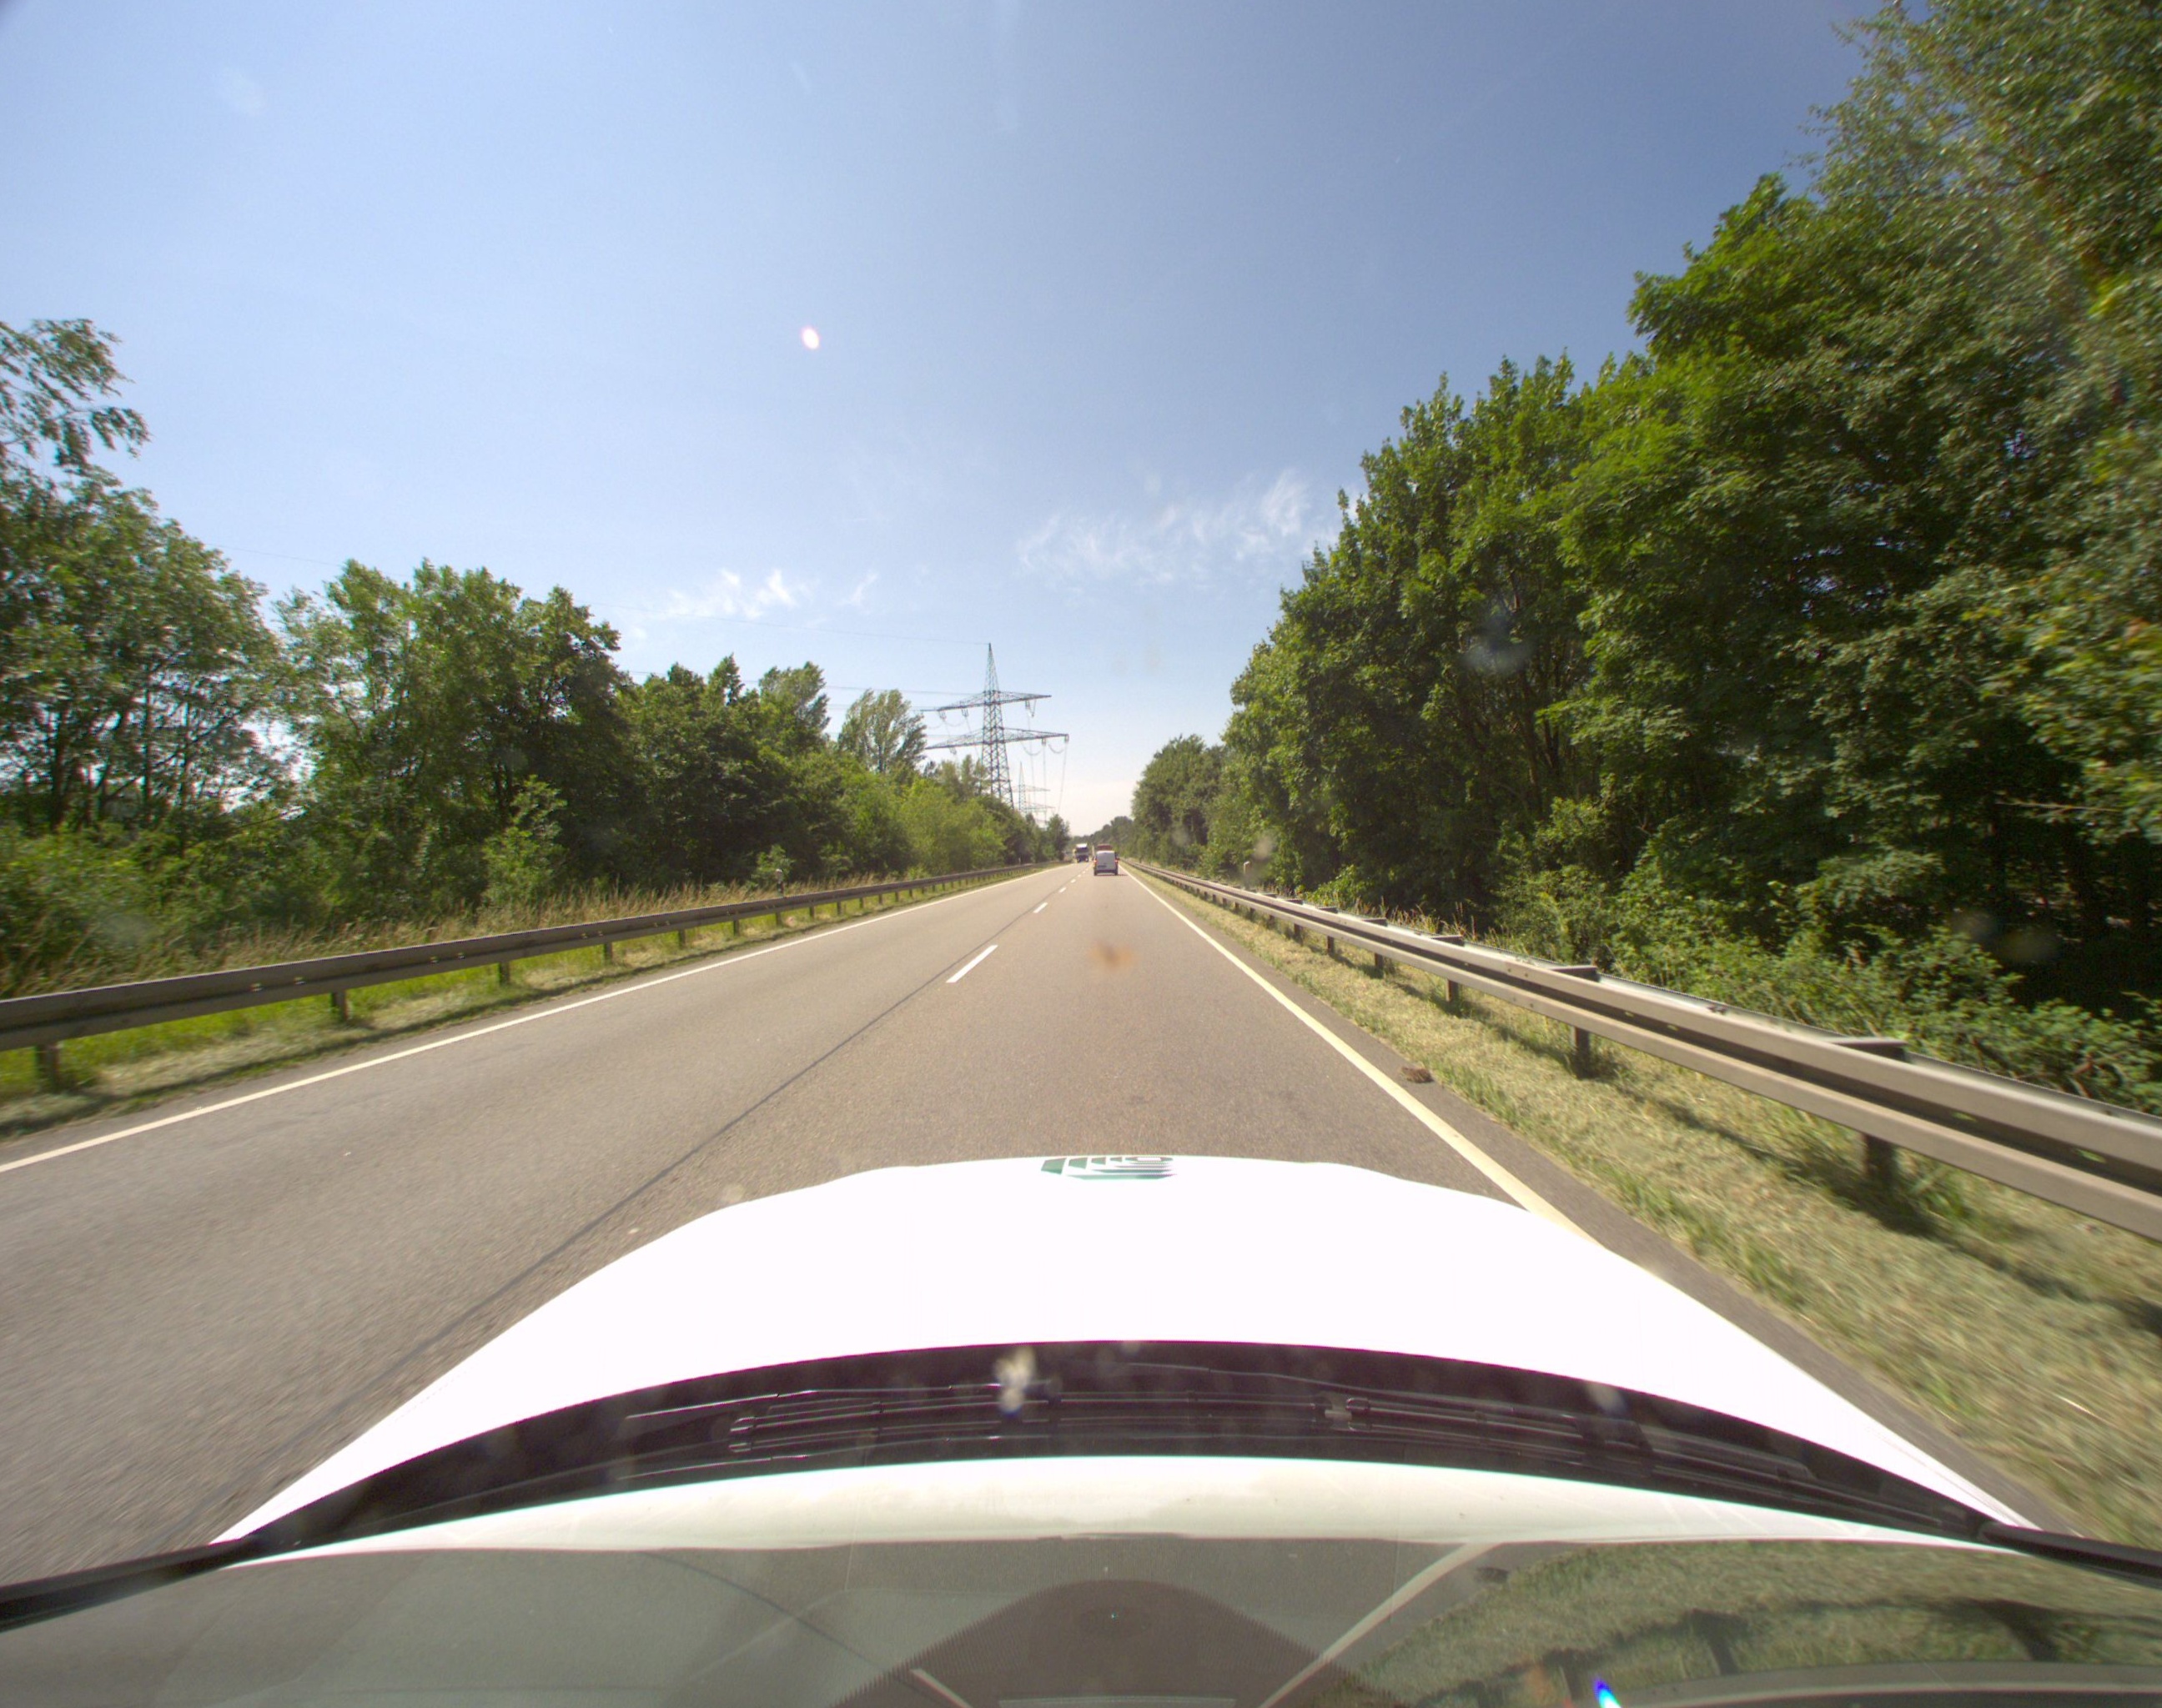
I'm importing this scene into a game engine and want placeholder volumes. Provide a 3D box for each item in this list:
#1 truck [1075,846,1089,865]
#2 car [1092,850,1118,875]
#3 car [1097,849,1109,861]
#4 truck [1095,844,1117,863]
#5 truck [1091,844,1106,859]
[{"bbox_3d":[0.232,0.254,177.867,2.753,3.999,5.909,-1,0,1],"label":"truck"},{"bbox_3d":[1.762,0.569,59.973,1.868,1.741,4.001,-1,1,1],"label":"car"},{"bbox_3d":[3.575,0.163,134.067,1.758,2.013,3.999,-1,0,-1],"label":"car"},{"bbox_3d":[4.399,-0.170,145.661,3.287,3.171,14.400,-1,1,-1],"label":"truck"},{"bbox_3d":[4.745,-0.795,221.156,3.392,3.854,16.812,-1,1,-1],"label":"truck"}]
